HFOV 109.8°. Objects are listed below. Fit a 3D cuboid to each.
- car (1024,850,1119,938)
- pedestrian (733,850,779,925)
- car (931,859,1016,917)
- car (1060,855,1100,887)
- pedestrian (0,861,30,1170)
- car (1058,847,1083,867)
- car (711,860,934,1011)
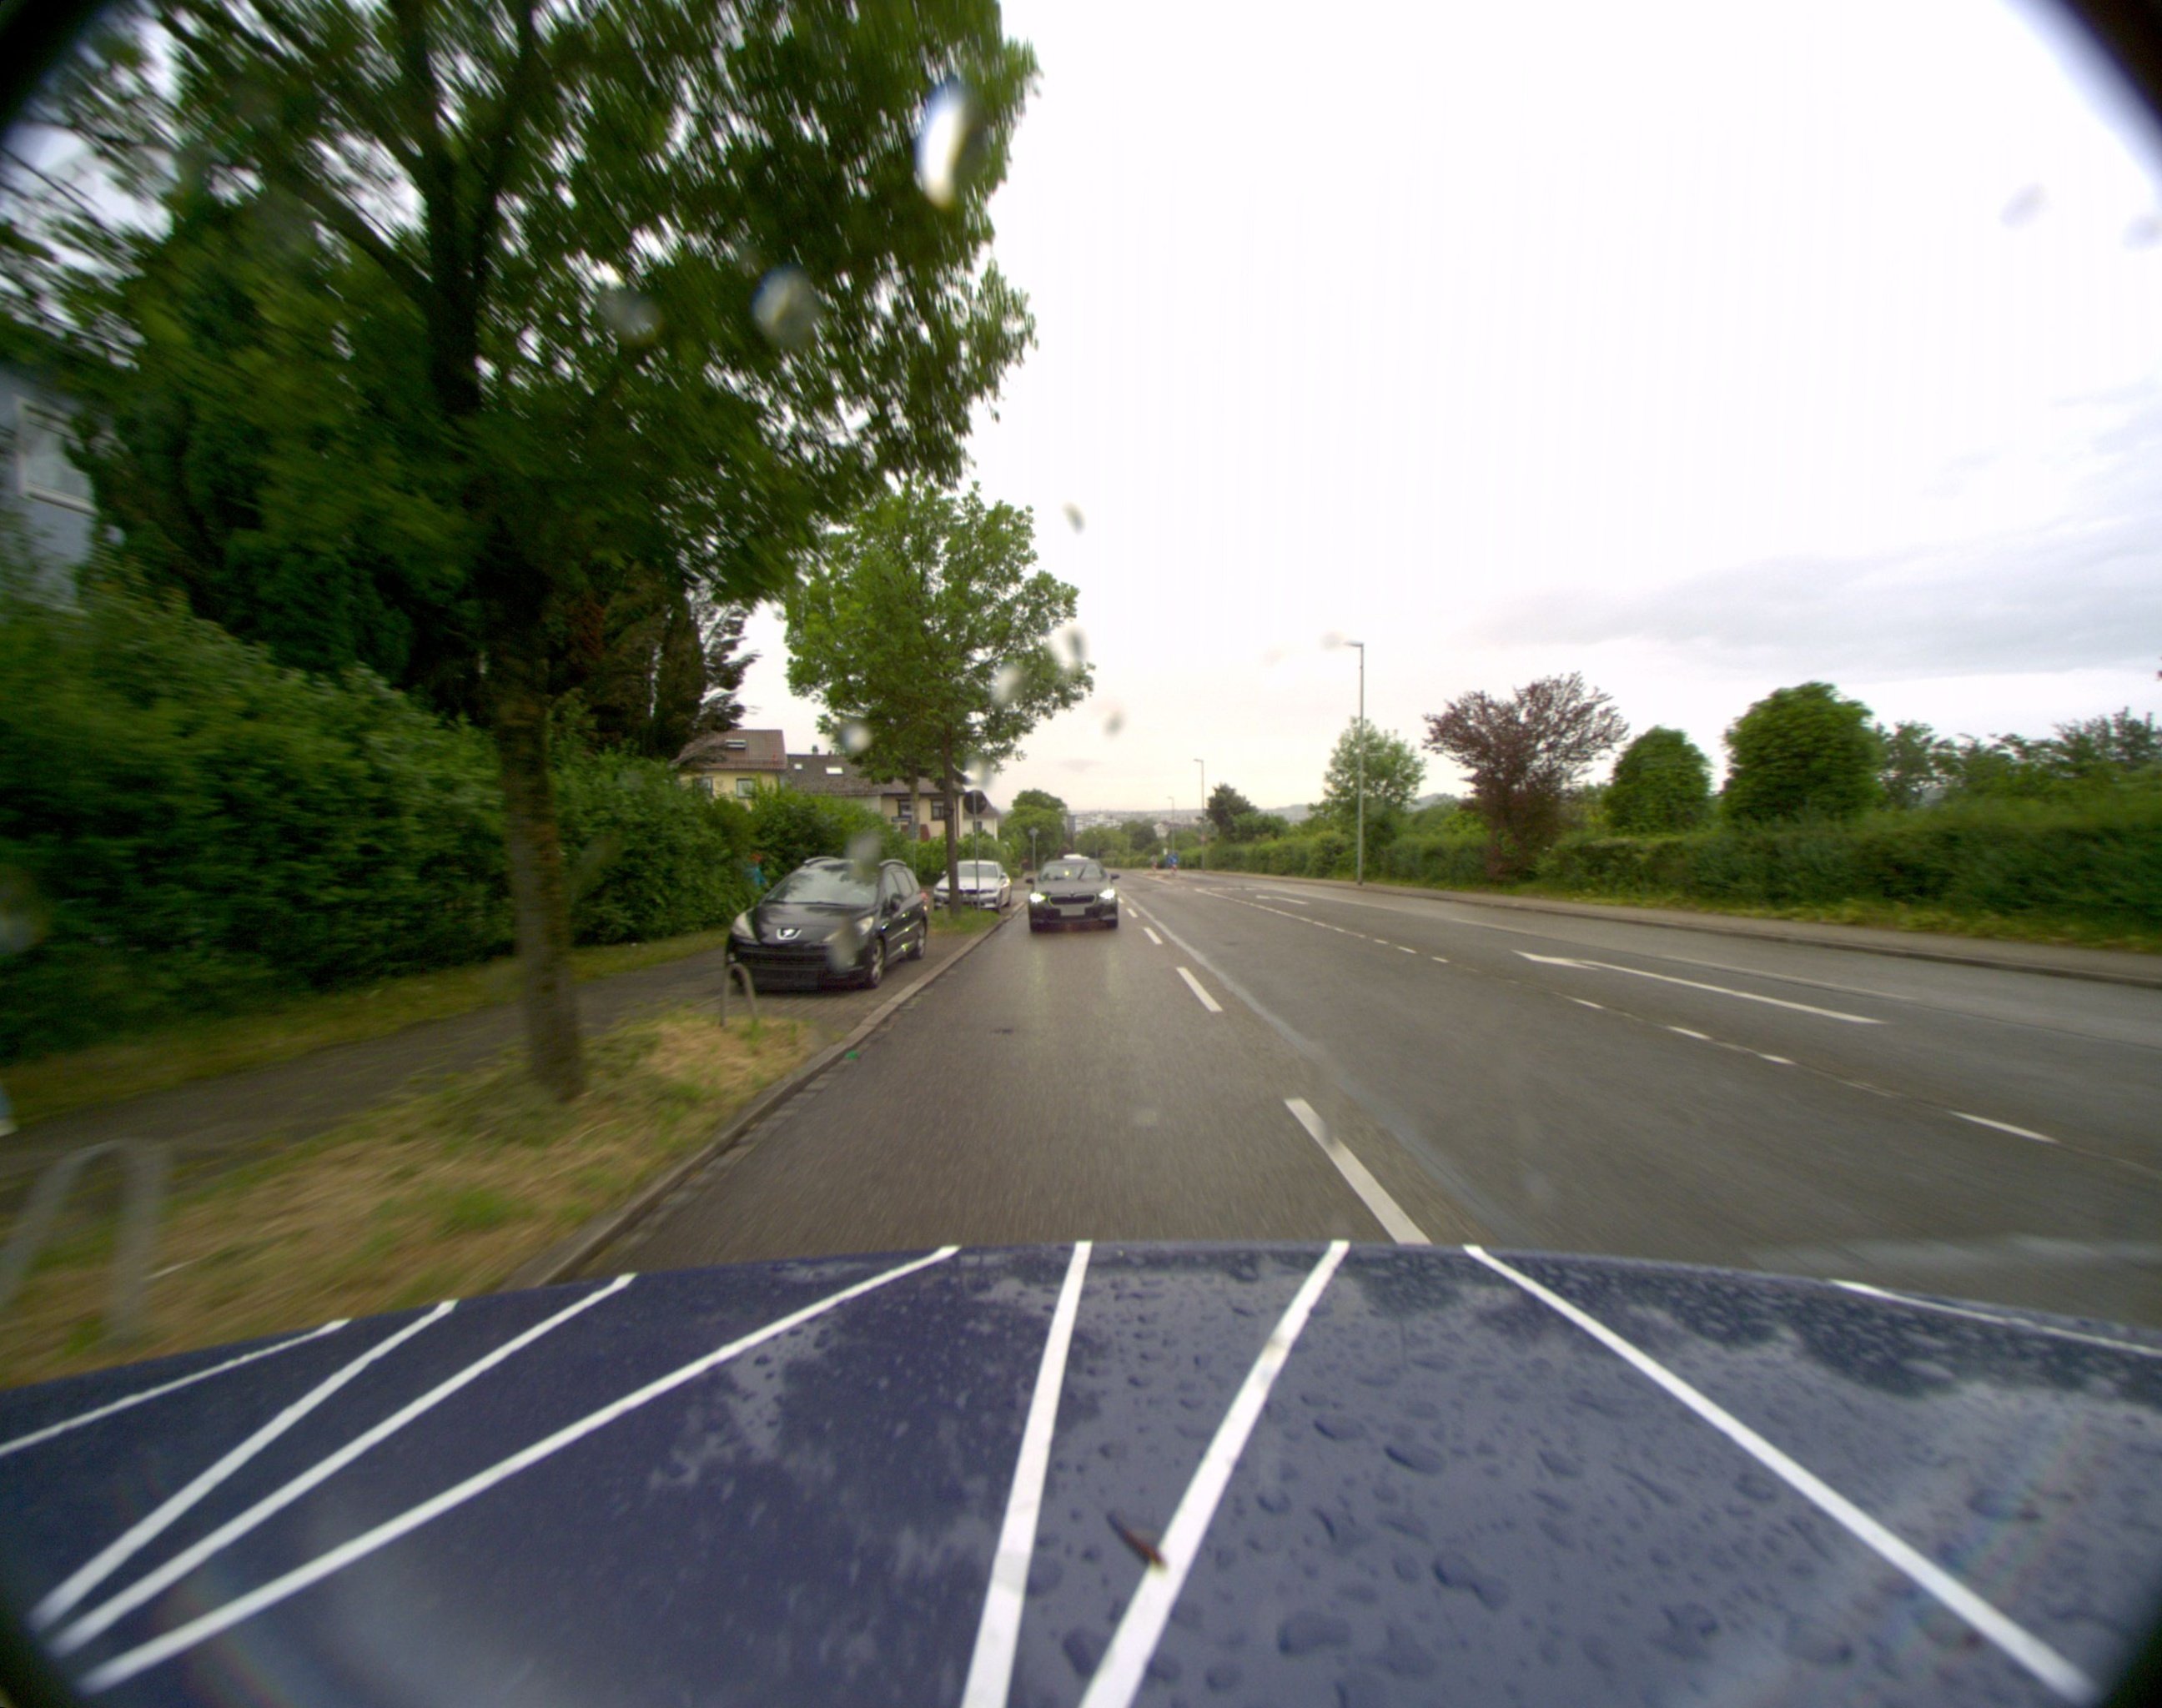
[{"bbox_3d":[-0.129,0.797,17.411,1.828,1.668,4.296,-3,0,2],"label":"car"},{"bbox_3d":[-7.433,0.748,17.401,0.709,1.670,0.654,0,1,8],"label":"pedestrian"},{"bbox_3d":[-3.048,0.916,22.485,1.803,1.513,4.591,0,0,1],"label":"car"},{"bbox_3d":[-0.134,0.939,44.158,1.999,1.674,4.172,-1,0,-4],"label":"car"},{"bbox_3d":[-6.167,0.877,3.777,0.896,1.670,0.717,-1,1,-36],"label":"pedestrian"},{"bbox_3d":[-0.976,0.227,67.707,1.999,1.674,4.172,-1,0,-3],"label":"car"},{"bbox_3d":[-3.173,0.897,10.185,1.646,1.586,4.013,0,0,0],"label":"car"}]
